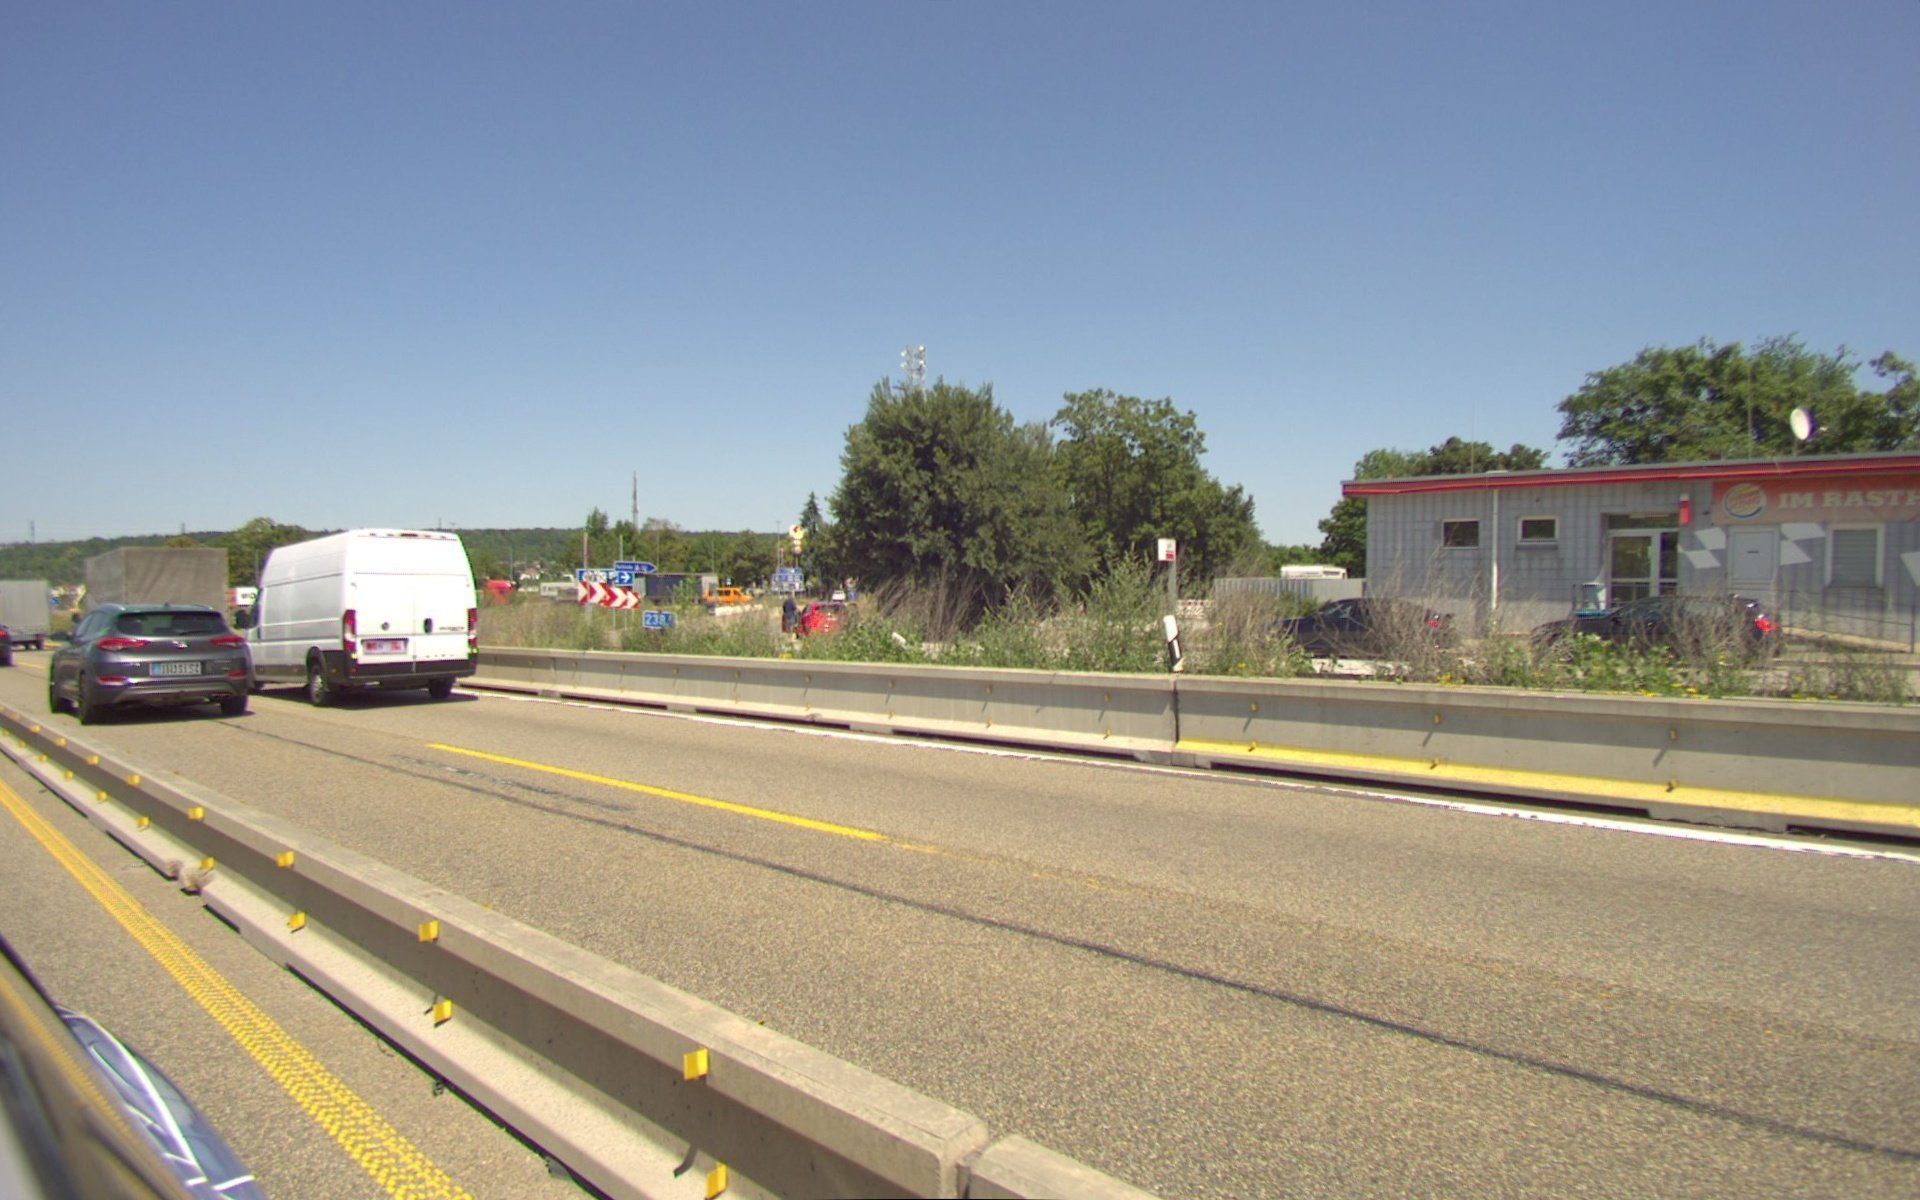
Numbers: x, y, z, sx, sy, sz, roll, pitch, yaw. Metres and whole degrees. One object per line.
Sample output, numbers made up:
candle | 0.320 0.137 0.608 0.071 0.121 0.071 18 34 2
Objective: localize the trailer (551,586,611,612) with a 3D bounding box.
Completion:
trailer | -45.623 -0.122 121.558 9.386 2.788 2.232 -2 1 39

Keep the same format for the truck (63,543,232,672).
truck | -23.908 0.197 29.601 8.113 3.317 2.469 0 0 41

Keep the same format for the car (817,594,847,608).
car | -17.548 0.129 139.029 3.938 1.847 1.745 -1 -1 -5

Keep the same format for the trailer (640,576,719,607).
trailer | -36.577 -1.077 131.685 13.428 3.649 2.991 -2 1 42

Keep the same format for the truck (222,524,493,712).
truck | -10.911 0.307 18.034 6.489 2.807 2.216 -1 0 41

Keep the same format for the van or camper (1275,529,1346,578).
van or camper | 19.591 -2.522 56.454 2.443 2.417 5.162 -1 -1 35

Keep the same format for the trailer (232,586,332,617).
trailer | -100.227 0.202 149.737 12.561 3.812 2.624 -4 2 -4

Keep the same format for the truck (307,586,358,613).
truck | -93.205 -0.126 150.350 5.648 3.644 2.585 -4 2 -8

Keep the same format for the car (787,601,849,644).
car | -5.384 0.794 38.048 1.478 1.342 4.199 -4 2 -19

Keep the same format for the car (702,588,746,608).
car | -29.117 -0.254 124.903 4.966 2.270 1.996 -2 0 7

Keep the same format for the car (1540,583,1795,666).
car | 13.904 0.446 20.006 3.998 1.342 1.629 -1 6 41

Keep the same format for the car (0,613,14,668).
car | -31.355 1.260 31.833 4.743 1.671 1.921 -1 -1 42

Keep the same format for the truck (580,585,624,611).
truck | -41.939 -0.216 118.560 5.625 2.788 2.247 -2 0 39

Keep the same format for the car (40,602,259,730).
car | -12.096 0.877 15.023 3.999 1.623 1.918 -1 0 42

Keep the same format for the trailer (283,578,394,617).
trailer | -81.605 -0.356 133.056 12.193 4.197 2.863 -4 2 -4

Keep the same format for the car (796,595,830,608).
car | -20.652 0.216 142.363 4.359 1.847 1.739 -1 -1 7

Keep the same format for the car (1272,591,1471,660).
car | 9.648 0.633 23.880 3.998 1.365 1.629 -3 3 41

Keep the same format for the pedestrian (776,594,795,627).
pedestrian | -6.464 0.382 37.552 0.467 1.214 0.587 -1 -1 -34

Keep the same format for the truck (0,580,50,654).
truck | -46.737 0.850 49.649 7.714 3.410 2.363 -2 0 43

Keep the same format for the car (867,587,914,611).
car | -6.594 -0.096 95.712 3.935 2.029 2.004 -2 1 -37

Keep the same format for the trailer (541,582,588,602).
trailer | -75.161 -1.531 192.175 11.695 3.405 2.915 -1 0 40
